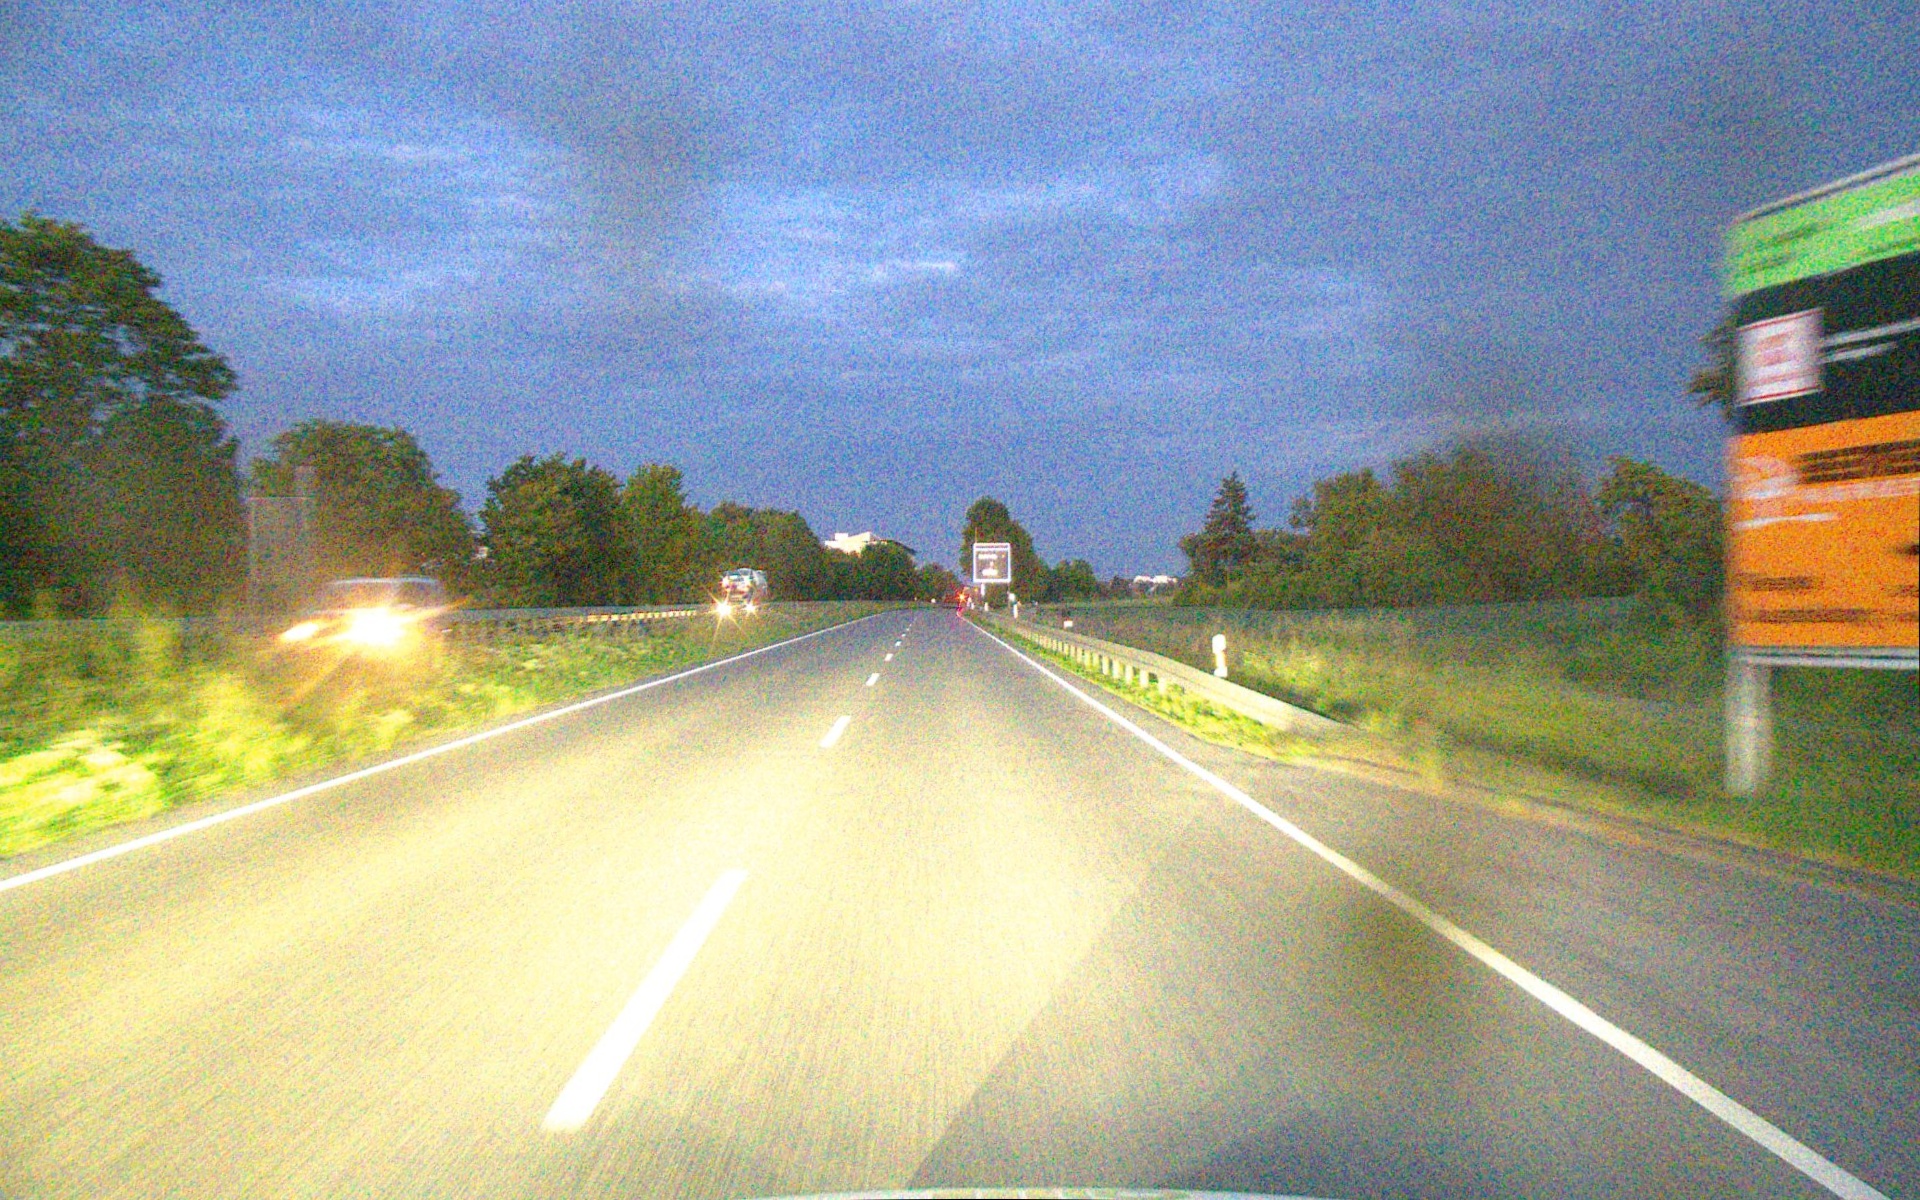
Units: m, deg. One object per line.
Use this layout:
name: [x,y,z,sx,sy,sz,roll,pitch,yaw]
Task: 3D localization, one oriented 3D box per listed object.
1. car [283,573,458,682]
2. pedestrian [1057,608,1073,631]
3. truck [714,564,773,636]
car: [-12.481,0.551,35.423,1.926,2.136,5.345,1,0,-2]
pedestrian: [7.512,1.391,118.781,1.040,1.672,1.118,1,0,-1]
truck: [-17.358,-0.045,133.344,3.138,5.346,12.606,-3,1,-1]
